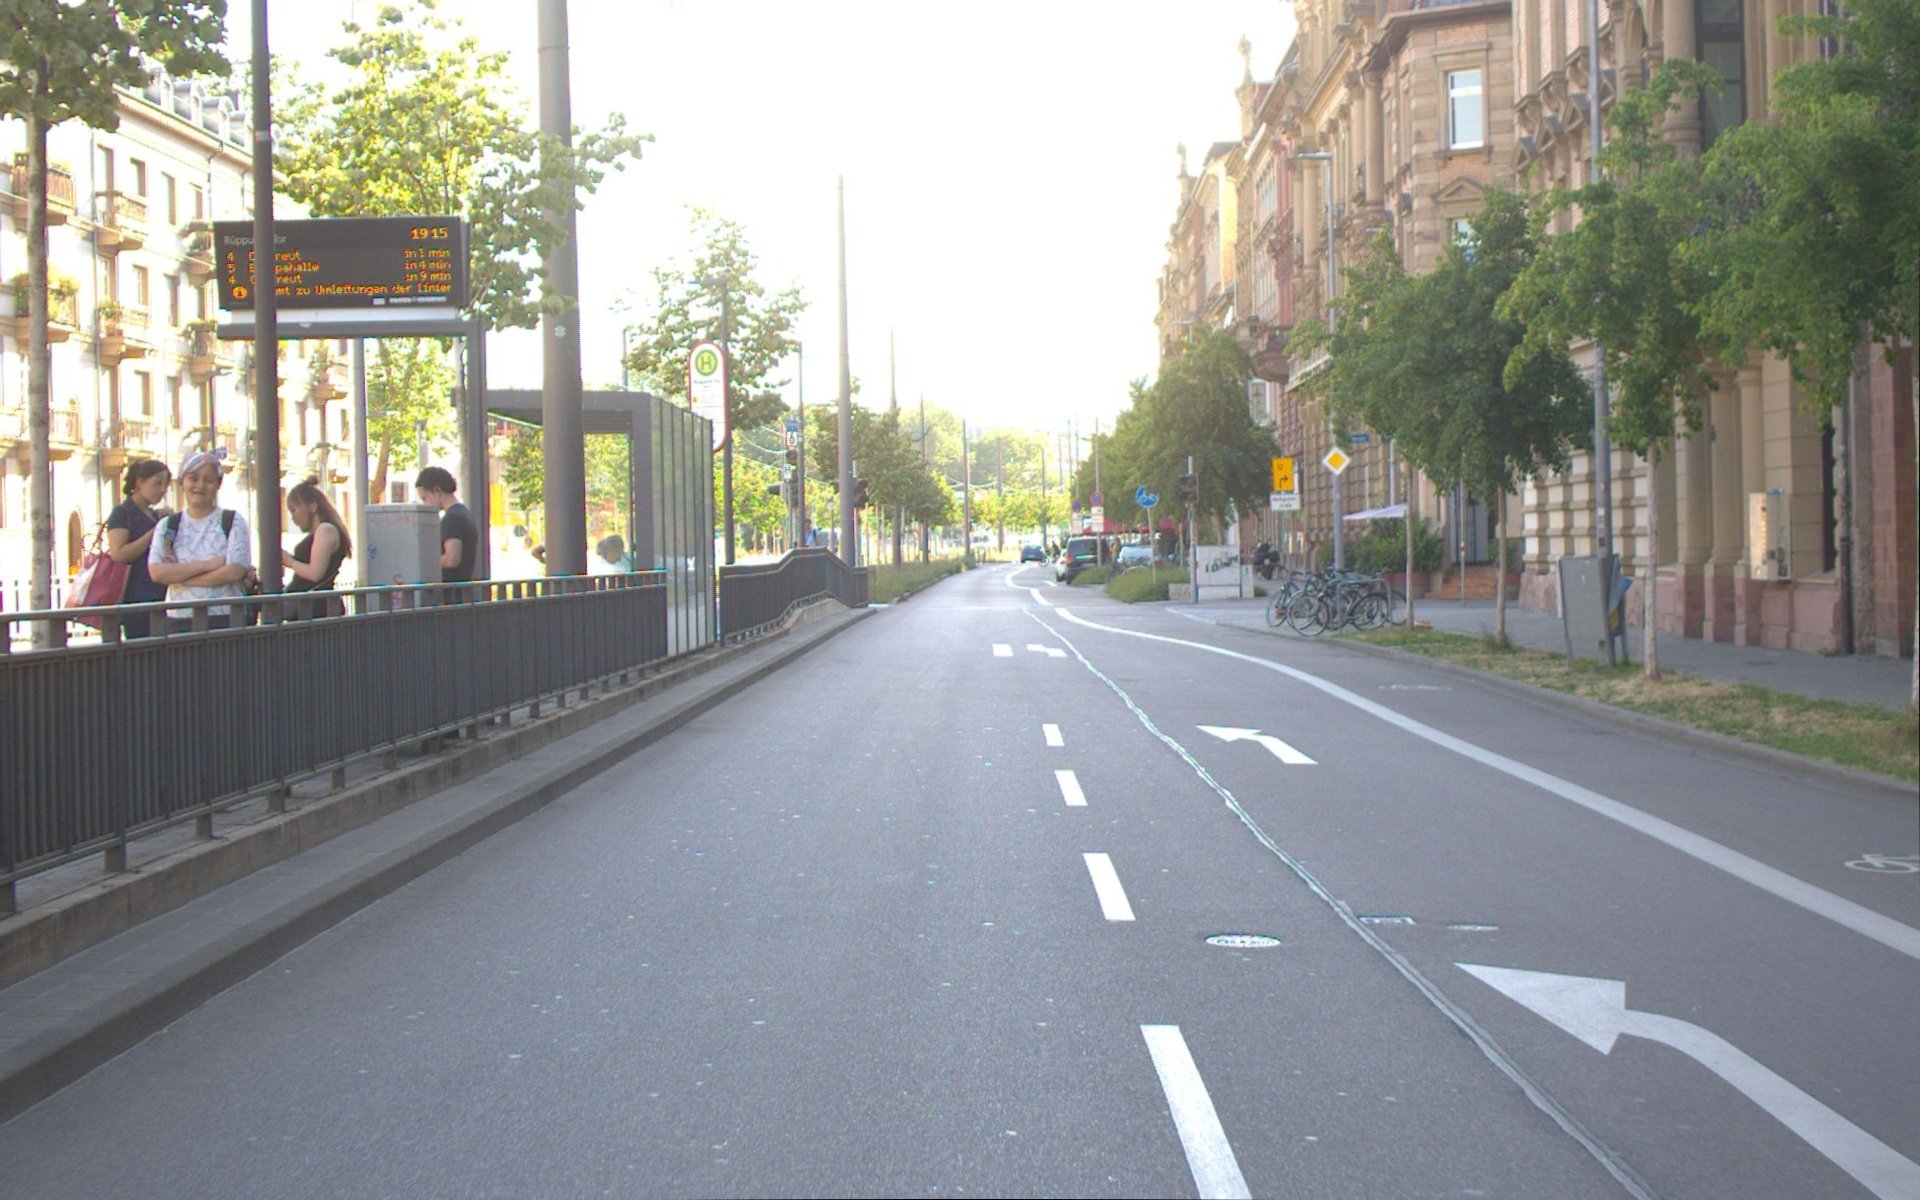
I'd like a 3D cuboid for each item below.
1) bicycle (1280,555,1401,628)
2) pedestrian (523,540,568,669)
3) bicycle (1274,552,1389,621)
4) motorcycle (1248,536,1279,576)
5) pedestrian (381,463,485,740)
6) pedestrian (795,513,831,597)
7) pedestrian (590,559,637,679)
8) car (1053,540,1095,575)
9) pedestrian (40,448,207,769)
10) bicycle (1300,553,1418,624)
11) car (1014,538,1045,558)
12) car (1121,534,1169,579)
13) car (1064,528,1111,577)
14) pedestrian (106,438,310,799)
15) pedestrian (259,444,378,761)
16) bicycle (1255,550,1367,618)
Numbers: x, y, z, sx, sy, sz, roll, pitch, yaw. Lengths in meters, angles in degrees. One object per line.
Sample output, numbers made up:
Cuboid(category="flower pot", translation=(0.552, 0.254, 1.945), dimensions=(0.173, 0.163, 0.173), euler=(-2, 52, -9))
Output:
Cuboid(category="bicycle", translation=(6.267, -0.145, 56.706), dimensions=(1.825, 1.061, 0.664), euler=(-4, 2, -4))
Cuboid(category="pedestrian", translation=(-4.484, 0.046, 37.181), dimensions=(0.428, 1.381, 0.408), euler=(-1, 1, -11))
Cuboid(category="bicycle", translation=(6.427, -0.240, 59.459), dimensions=(1.825, 1.061, 0.664), euler=(-4, 2, -4))
Cuboid(category="motorcycle", translation=(10.745, -1.564, 121.657), dimensions=(0.795, 1.304, 2.852), euler=(-3, 2, 0))
Cuboid(category="pedestrian", translation=(-3.246, 0.001, 21.199), dimensions=(0.505, 1.673, 0.651), euler=(-1, 1, 0))
Cuboid(category="pedestrian", translation=(-2.895, -0.876, 67.709), dimensions=(0.655, 1.637, 0.867), euler=(0, 0, 1))
Cuboid(category="pedestrian", translation=(-3.457, 0.187, 34.264), dimensions=(0.406, 1.186, 0.430), euler=(-1, 1, -12))
Cuboid(category="car", translation=(5.220, -1.959, 156.890), dimensions=(1.850, 1.452, 4.156), euler=(-1, 2, 2))
Cuboid(category="pedestrian", translation=(-4.596, 0.041, 18.917), dimensions=(0.719, 1.726, 0.651), euler=(-1, 1, 0))
Cuboid(category="bicycle", translation=(6.739, -0.201, 58.068), dimensions=(1.825, 1.061, 0.664), euler=(-4, 2, -4))
Cuboid(category="car", translation=(5.160, -3.870, 255.570), dimensions=(1.798, 1.459, 3.999), euler=(-1, 1, 8))
Cuboid(category="car", translation=(6.838, -1.637, 126.929), dimensions=(1.637, 1.481, 4.211), euler=(-3, 2, 3))
Cuboid(category="car", translation=(5.298, -2.002, 143.091), dimensions=(1.885, 1.930, 4.473), euler=(-1, 2, 2))
Cuboid(category="pedestrian", translation=(-3.353, 0.073, 15.394), dimensions=(0.673, 1.556, 0.906), euler=(-1, 1, 0))
Cuboid(category="pedestrian", translation=(-3.565, 0.010, 19.138), dimensions=(0.505, 1.726, 0.651), euler=(-1, 1, 0))
Cuboid(category="bicycle", translation=(6.222, -0.283, 60.936), dimensions=(1.825, 1.061, 0.664), euler=(-4, 2, -4))
